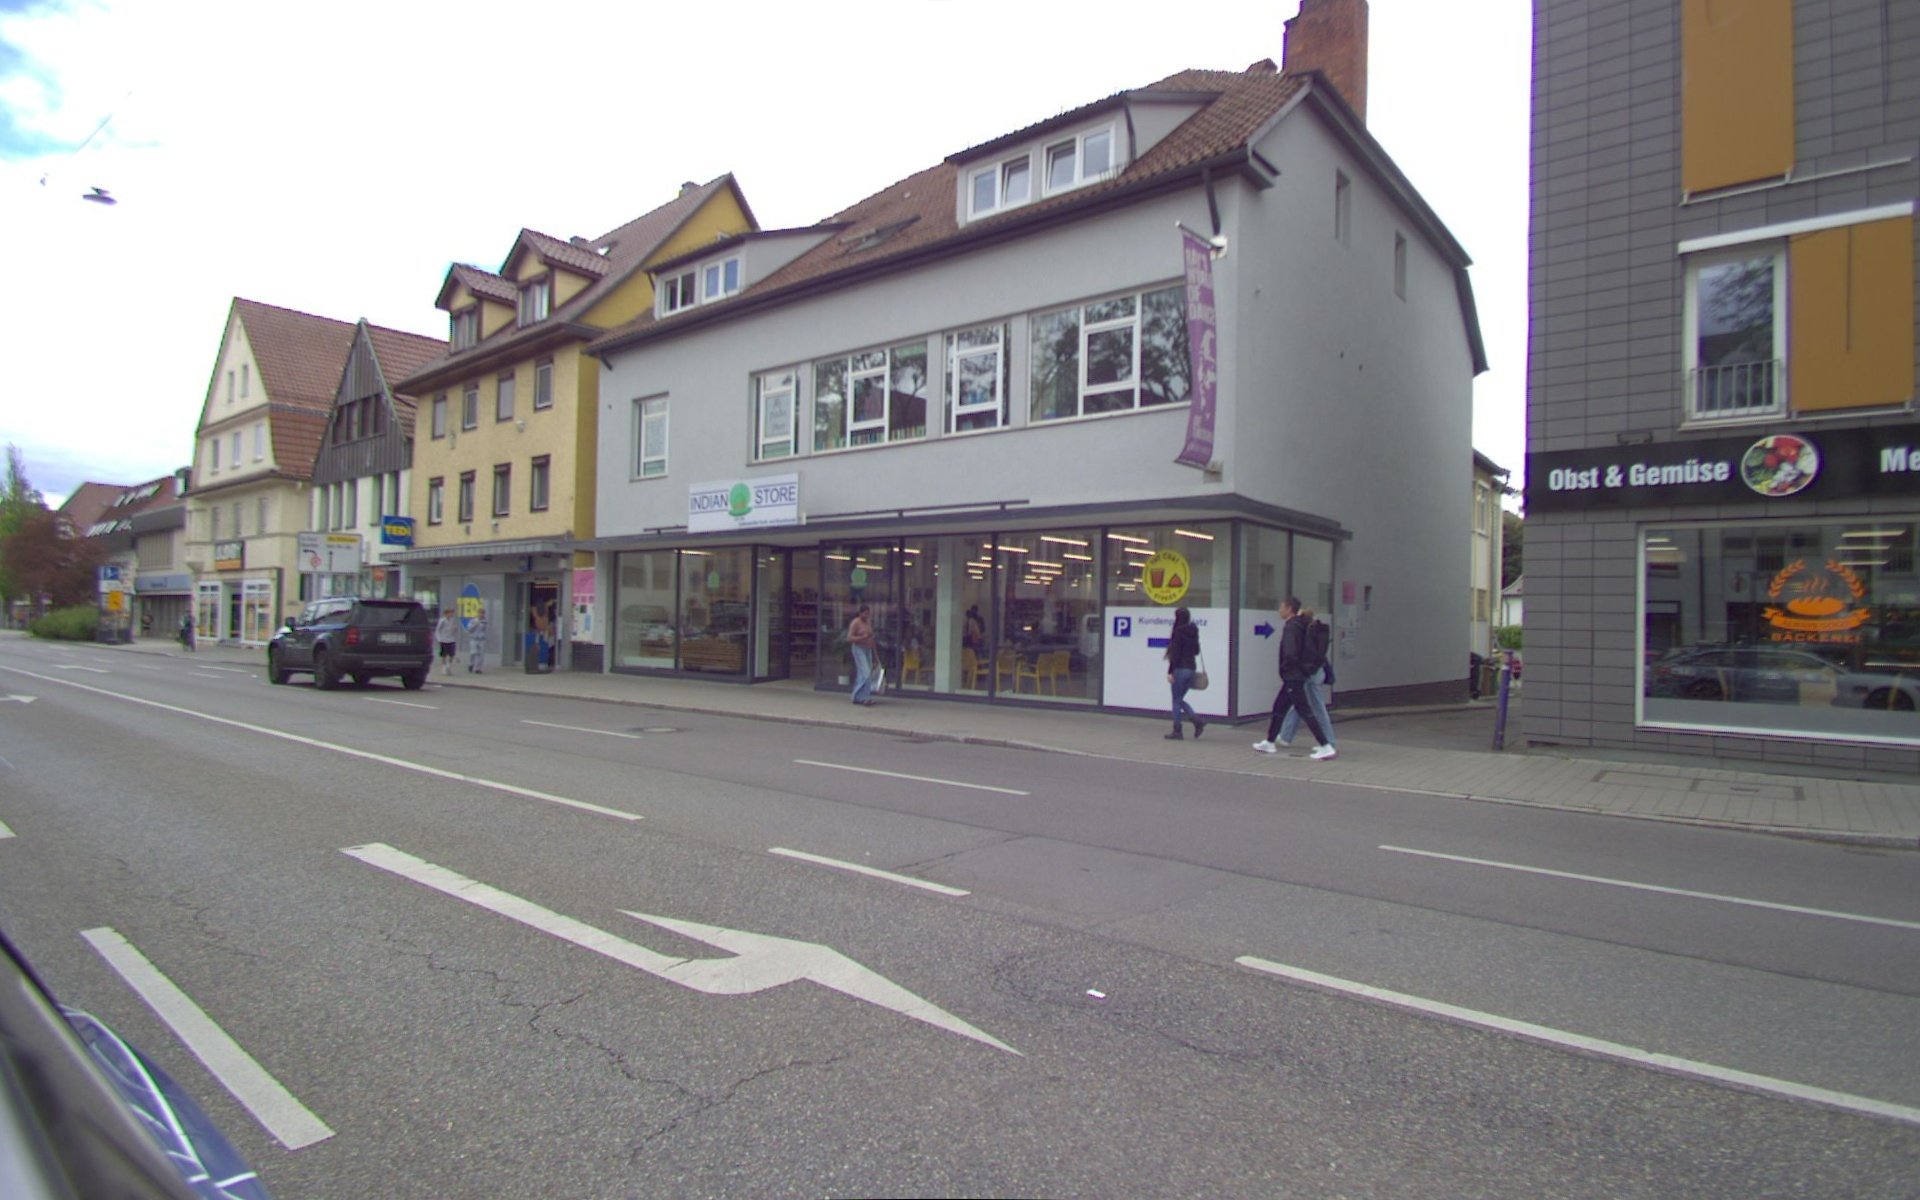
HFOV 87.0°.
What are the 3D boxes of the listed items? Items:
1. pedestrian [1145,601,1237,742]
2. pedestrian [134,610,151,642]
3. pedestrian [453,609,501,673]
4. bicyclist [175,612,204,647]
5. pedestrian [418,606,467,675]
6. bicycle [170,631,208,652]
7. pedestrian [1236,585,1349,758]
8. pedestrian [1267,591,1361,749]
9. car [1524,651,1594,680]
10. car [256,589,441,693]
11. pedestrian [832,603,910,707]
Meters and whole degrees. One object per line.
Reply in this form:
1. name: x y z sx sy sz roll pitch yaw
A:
1. pedestrian: 2.942 0.877 12.875 0.870 1.711 0.795 -1 -2 42
2. pedestrian: -50.048 1.598 61.985 0.678 1.917 0.665 -1 -2 40
3. pedestrian: -12.414 1.038 26.029 0.920 1.595 0.801 -1 -2 41
4. bicyclist: -31.625 1.200 41.554 0.751 1.434 0.763 -1 -2 40
5. pedestrian: -12.973 0.999 25.366 0.920 1.674 0.801 -1 -2 41
6. bicycle: -31.632 1.685 41.532 2.238 0.829 0.763 -1 -2 40
7. pedestrian: 3.750 0.775 11.445 1.028 1.853 0.699 -1 -2 42
8. pedestrian: 4.210 0.806 12.041 0.870 1.795 0.699 -1 -2 42
9. car: 32.545 3.531 55.077 1.628 1.424 3.786 0 -1 2
10. car: -13.135 0.846 21.625 4.766 1.984 1.903 -1 -3 40
11. pedestrian: -1.489 0.901 17.041 0.871 1.679 0.988 -1 -1 41
